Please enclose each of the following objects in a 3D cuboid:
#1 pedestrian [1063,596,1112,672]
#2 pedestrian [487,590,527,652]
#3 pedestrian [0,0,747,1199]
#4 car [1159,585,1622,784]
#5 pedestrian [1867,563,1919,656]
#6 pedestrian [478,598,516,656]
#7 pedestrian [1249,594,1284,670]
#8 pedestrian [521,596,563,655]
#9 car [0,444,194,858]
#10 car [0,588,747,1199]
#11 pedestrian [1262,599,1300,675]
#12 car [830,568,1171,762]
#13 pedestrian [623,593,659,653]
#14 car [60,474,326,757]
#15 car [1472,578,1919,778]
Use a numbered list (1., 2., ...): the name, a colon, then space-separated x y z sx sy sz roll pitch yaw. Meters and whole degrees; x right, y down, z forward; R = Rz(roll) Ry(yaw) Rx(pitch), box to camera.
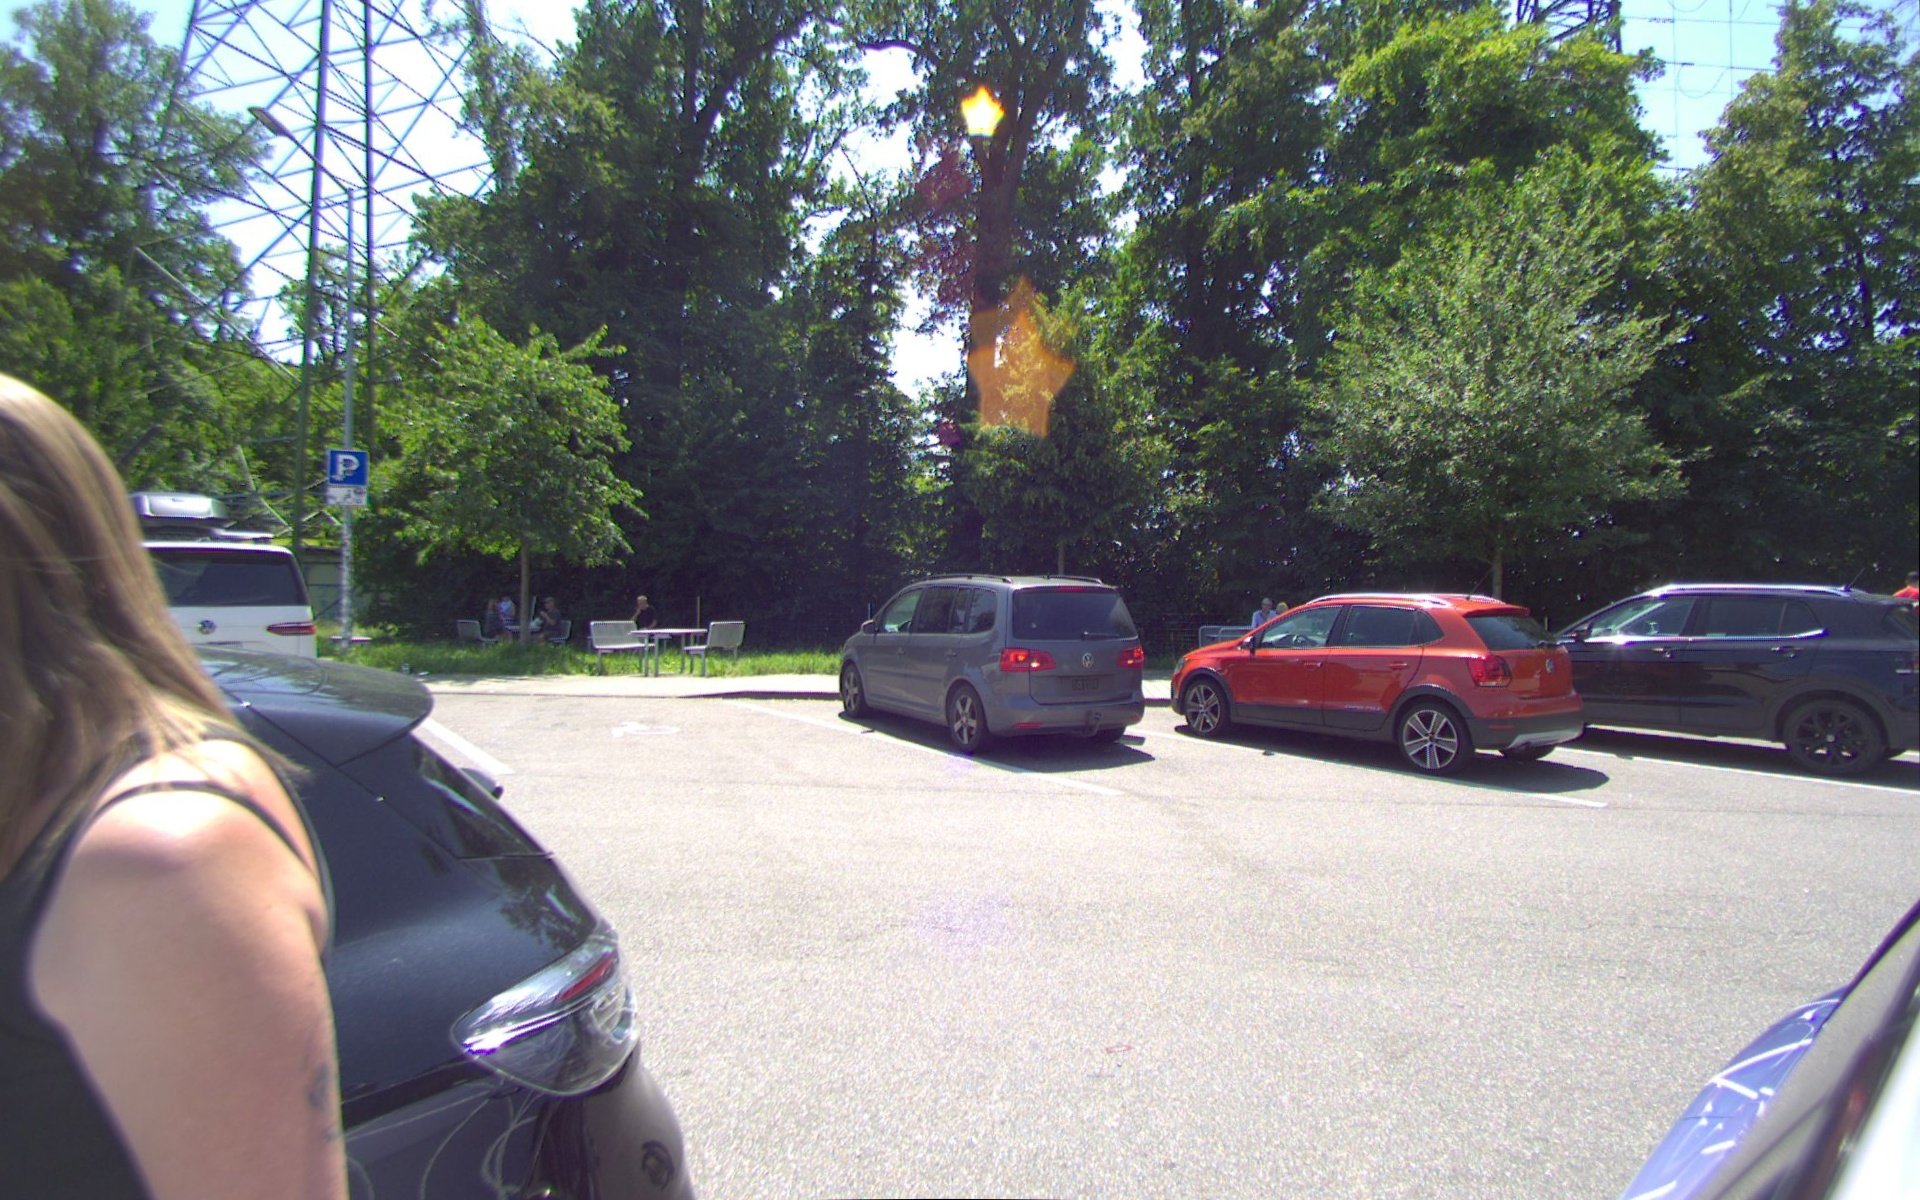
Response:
1. pedestrian: 2.116 0.565 16.843 0.660 1.235 0.682 1 -2 -5
2. pedestrian: -10.967 0.497 24.496 0.722 1.478 0.669 1 -1 -39
3. pedestrian: -0.602 0.574 0.628 0.648 1.606 0.643 0 -1 26
4. car: 3.840 0.611 9.634 1.604 1.476 3.810 0 1 -34
5. pedestrian: 13.891 0.138 14.597 0.846 1.316 0.894 1 -1 -18
6. pedestrian: -10.455 0.605 22.861 0.630 1.287 0.579 1 -1 -39
7. pedestrian: 5.749 0.598 19.002 0.495 1.393 0.491 1 -1 0
8. pedestrian: -9.735 0.589 23.559 0.722 1.343 0.669 1 -1 -39
9. car: -7.655 0.228 5.687 5.212 2.176 2.000 1 2 1
10. car: -2.147 0.721 0.569 1.615 1.503 3.706 0 -1 44
11. pedestrian: 5.667 0.648 17.879 0.495 1.316 0.491 1 -1 0
12. car: 0.204 0.506 10.536 1.717 1.611 3.961 0 1 -30
13. pedestrian: -6.706 0.471 21.285 0.550 1.229 0.599 1 -1 -1
14. car: -8.086 0.094 10.608 1.885 2.353 4.089 0 1 -40
15. car: 7.218 0.583 9.658 1.727 1.566 3.806 0 1 -39
